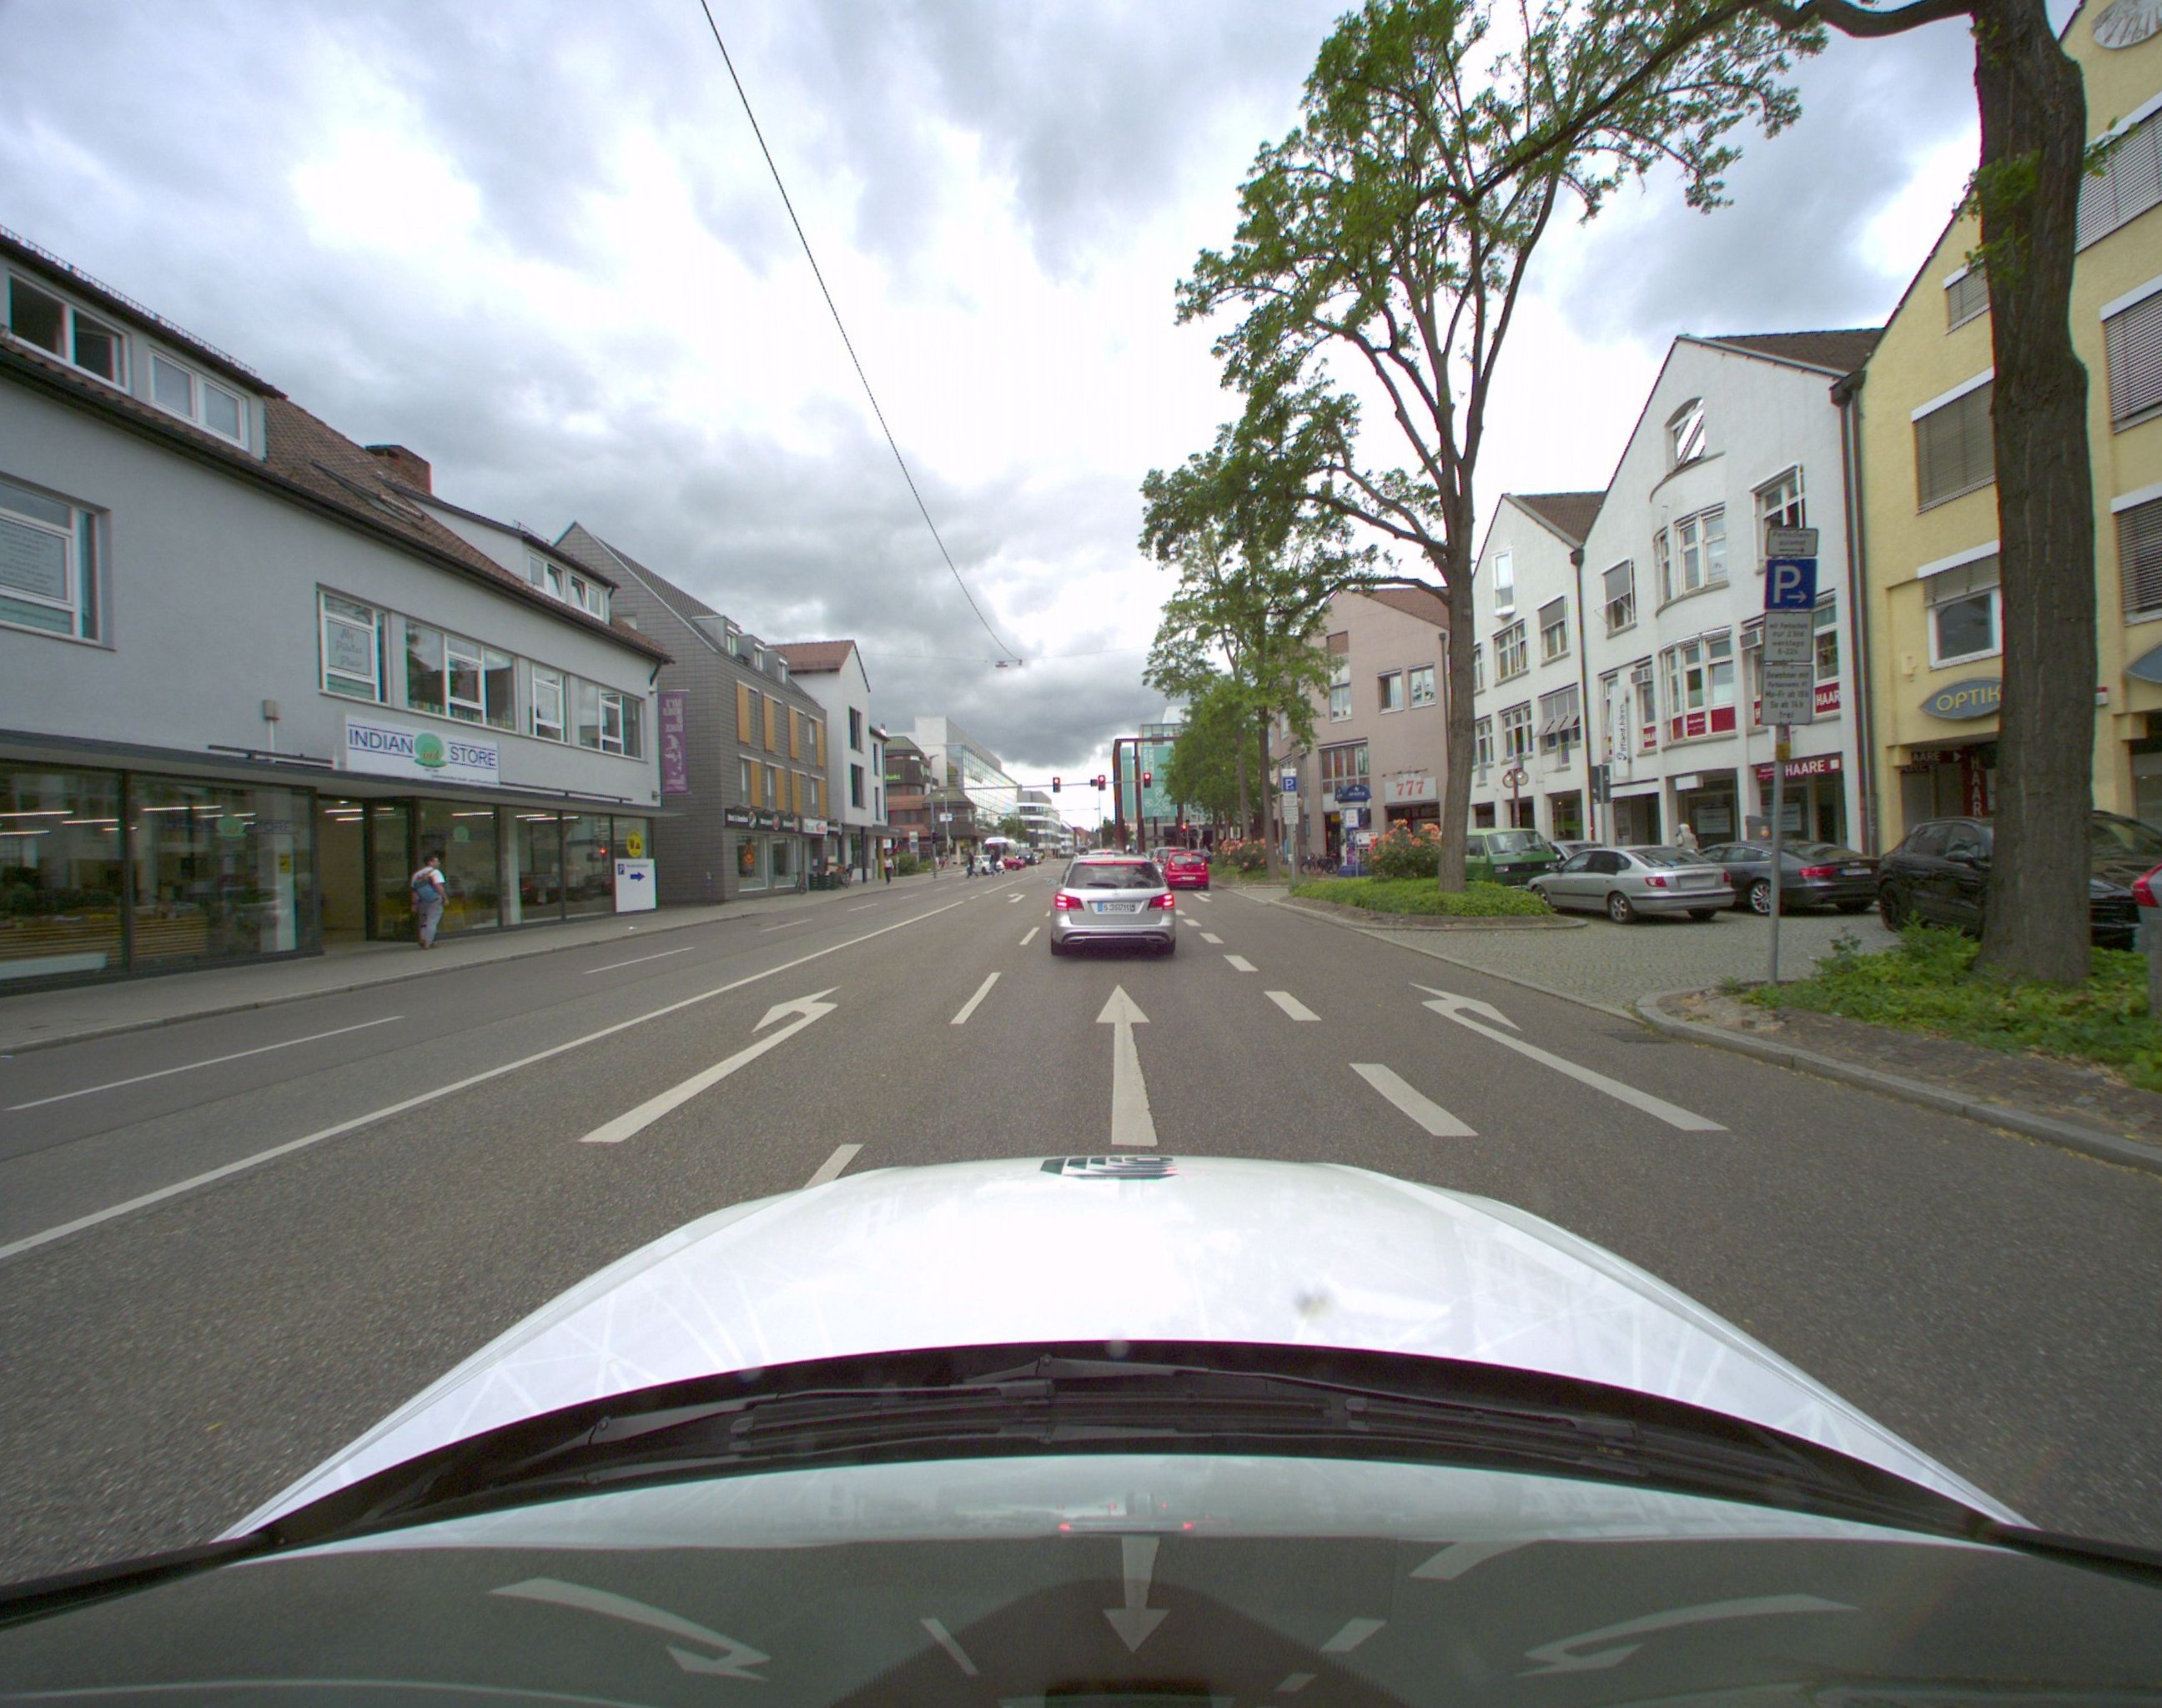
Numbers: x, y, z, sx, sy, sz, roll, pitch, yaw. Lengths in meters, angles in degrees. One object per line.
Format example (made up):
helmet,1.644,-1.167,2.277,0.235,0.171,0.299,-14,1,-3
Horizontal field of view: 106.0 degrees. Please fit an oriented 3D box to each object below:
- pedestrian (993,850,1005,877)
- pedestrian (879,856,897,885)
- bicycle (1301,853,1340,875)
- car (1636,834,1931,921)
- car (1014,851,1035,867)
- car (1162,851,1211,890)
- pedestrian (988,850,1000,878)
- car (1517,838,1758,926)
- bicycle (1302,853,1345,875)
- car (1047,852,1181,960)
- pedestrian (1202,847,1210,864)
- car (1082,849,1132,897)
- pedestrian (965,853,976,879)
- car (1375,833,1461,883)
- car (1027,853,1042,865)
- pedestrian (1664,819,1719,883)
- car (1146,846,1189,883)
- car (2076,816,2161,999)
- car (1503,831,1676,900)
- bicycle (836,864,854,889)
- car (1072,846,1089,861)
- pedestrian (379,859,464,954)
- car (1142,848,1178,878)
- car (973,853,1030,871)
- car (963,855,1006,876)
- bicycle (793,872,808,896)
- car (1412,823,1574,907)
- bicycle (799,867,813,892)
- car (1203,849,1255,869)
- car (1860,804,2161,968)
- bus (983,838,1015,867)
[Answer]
pedestrian,-5.459,0.654,54.179,0.645,1.775,0.568,-2,0,-9
pedestrian,-10.938,0.931,46.167,0.725,1.610,0.753,-2,0,2
bicycle,11.815,0.504,40.135,1.760,0.997,0.447,-2,0,5
car,13.534,0.389,16.150,1.991,1.376,4.418,-3,0,0
car,-6.383,0.522,92.712,1.987,1.706,4.065,-2,0,1
car,4.059,0.611,31.820,1.580,1.443,3.350,0,0,2
pedestrian,-5.698,0.641,53.298,0.646,1.790,0.682,-2,0,-8
car,10.784,0.480,16.256,1.757,1.450,4.418,-2,0,0
bicycle,11.787,0.485,39.589,1.892,0.997,0.468,-2,0,5
car,0.522,0.706,13.134,1.808,1.448,4.371,0,0,2
pedestrian,12.331,0.100,80.319,0.652,1.650,0.557,-2,0,-13
car,0.897,0.604,28.229,1.634,1.527,3.395,-1,0,2
pedestrian,-7.247,0.777,53.364,0.558,1.650,0.650,-2,0,-15
car,13.578,0.158,33.069,1.633,1.831,3.963,-3,0,-3
car,-5.678,0.621,100.415,1.550,1.392,3.288,-2,0,1
pedestrian,16.681,-0.086,22.259,0.786,1.659,0.819,-4,0,1
car,3.964,0.475,37.865,1.581,1.634,3.916,0,0,0
car,10.453,0.433,5.333,1.988,1.595,4.761,-2,0,-1
car,13.326,0.263,21.710,1.790,1.542,4.393,-3,0,0
bicycle,-12.173,1.145,42.025,0.385,1.186,1.825,-2,0,-1
car,-0.025,-0.070,109.356,1.985,1.949,4.954,-2,0,2
pedestrian,-12.287,0.954,15.203,0.751,1.705,0.981,1,0,1
car,4.229,0.455,44.184,1.581,1.595,3.868,0,0,0
car,-6.863,0.721,70.667,4.695,1.369,1.965,-2,0,2
car,-7.147,0.864,60.358,1.586,1.488,3.425,-3,0,-37
bicycle,-12.055,1.290,35.061,0.325,0.954,1.479,-2,0,-9
car,10.669,0.243,21.529,1.874,1.876,4.605,-3,0,0
bicycle,-13.226,1.205,39.181,0.386,1.127,1.286,-2,0,-8
car,12.744,0.429,70.458,4.171,1.530,1.791,-2,0,1
car,12.112,0.275,10.506,1.835,1.670,4.693,-3,0,30
bus,-9.498,-0.191,95.667,2.677,3.261,8.654,-2,0,1
